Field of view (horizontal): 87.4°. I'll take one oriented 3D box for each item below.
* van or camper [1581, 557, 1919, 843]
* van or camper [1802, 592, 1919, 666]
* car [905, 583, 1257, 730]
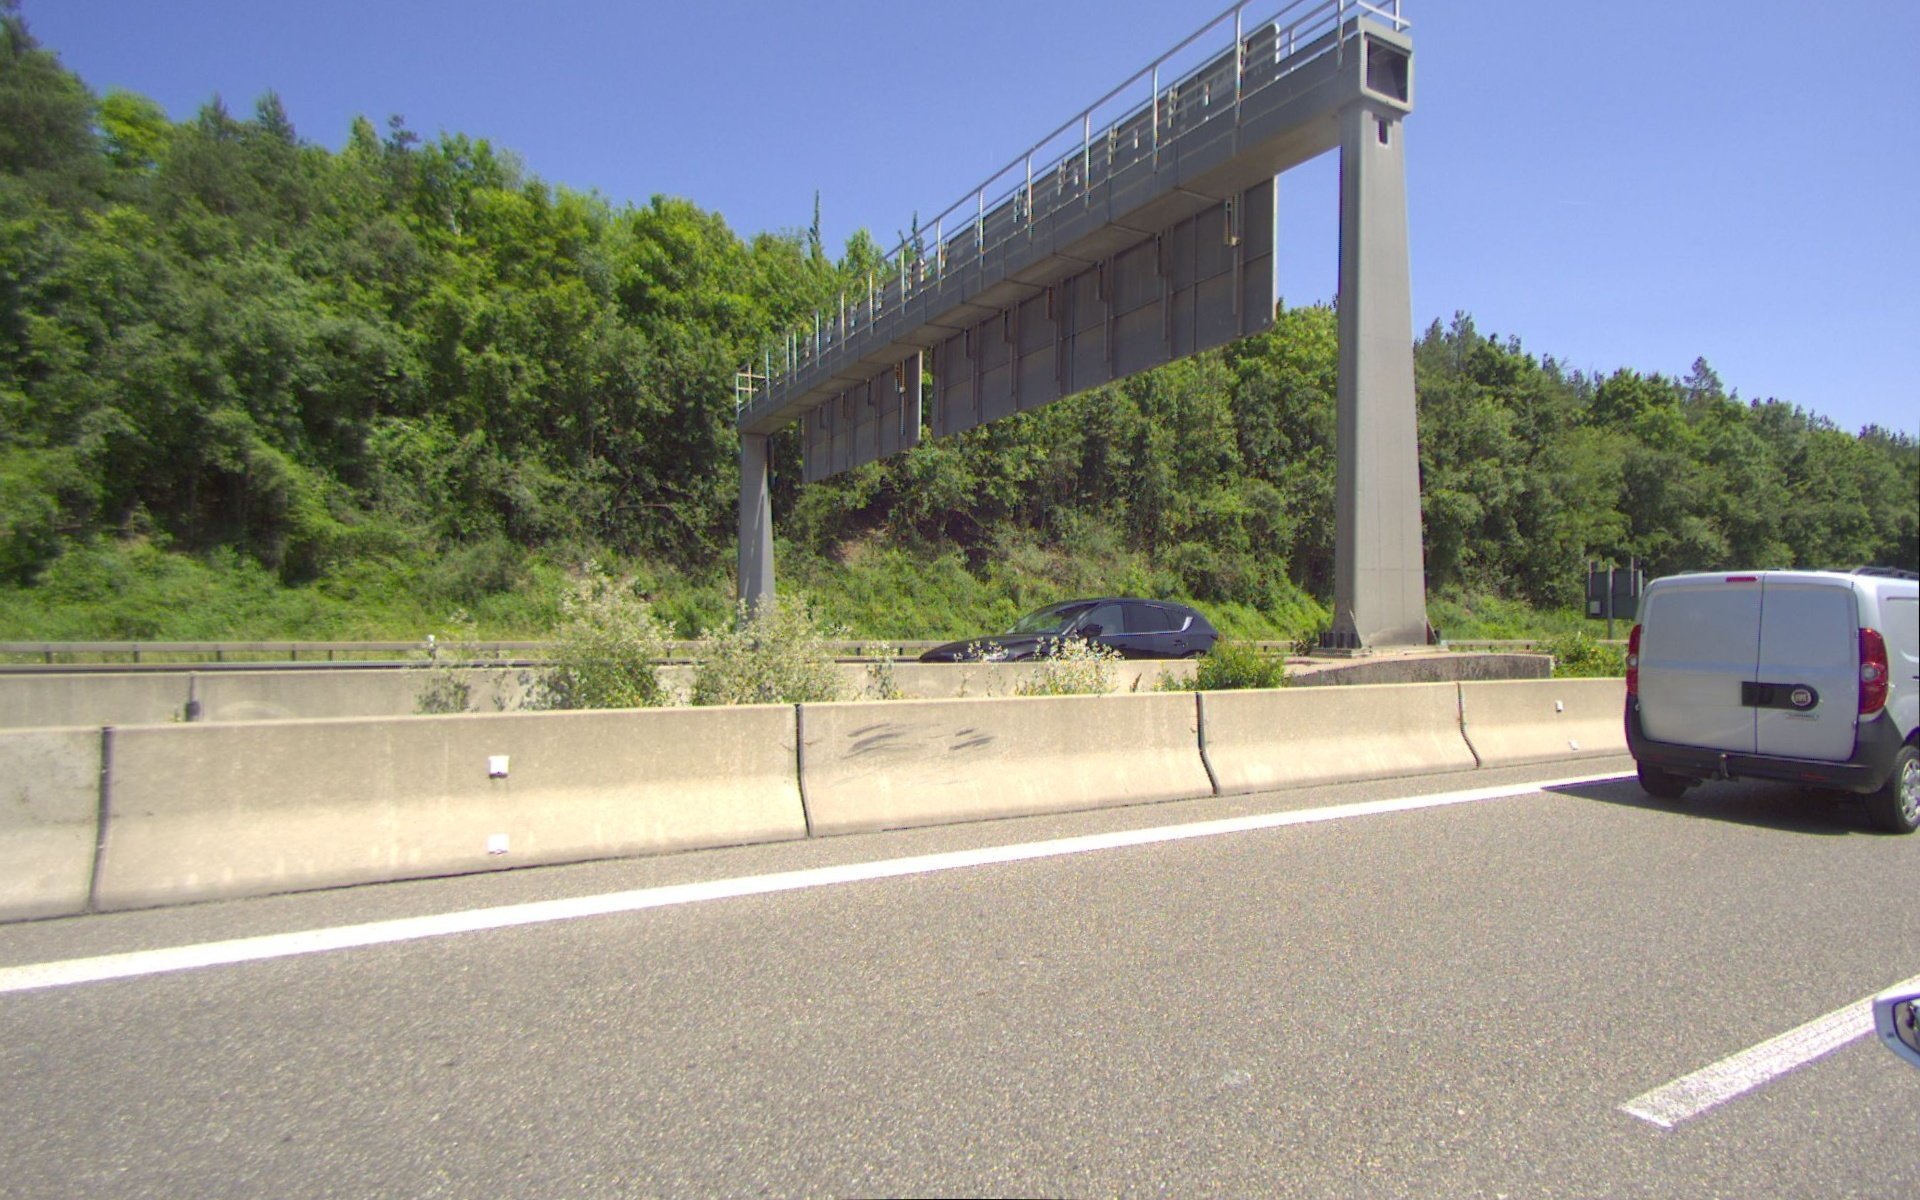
[{"bbox_3d":[7.543,0.704,8.628,4.507,1.905,1.844,1,0,-30],"label":"van or camper"},{"bbox_3d":[33.184,1.102,36.359,6.124,2.454,2.142,3,-1,-30],"label":"van or camper"},{"bbox_3d":[1.708,0.746,13.697,4.463,1.714,1.983,3,-1,-31],"label":"car"}]
